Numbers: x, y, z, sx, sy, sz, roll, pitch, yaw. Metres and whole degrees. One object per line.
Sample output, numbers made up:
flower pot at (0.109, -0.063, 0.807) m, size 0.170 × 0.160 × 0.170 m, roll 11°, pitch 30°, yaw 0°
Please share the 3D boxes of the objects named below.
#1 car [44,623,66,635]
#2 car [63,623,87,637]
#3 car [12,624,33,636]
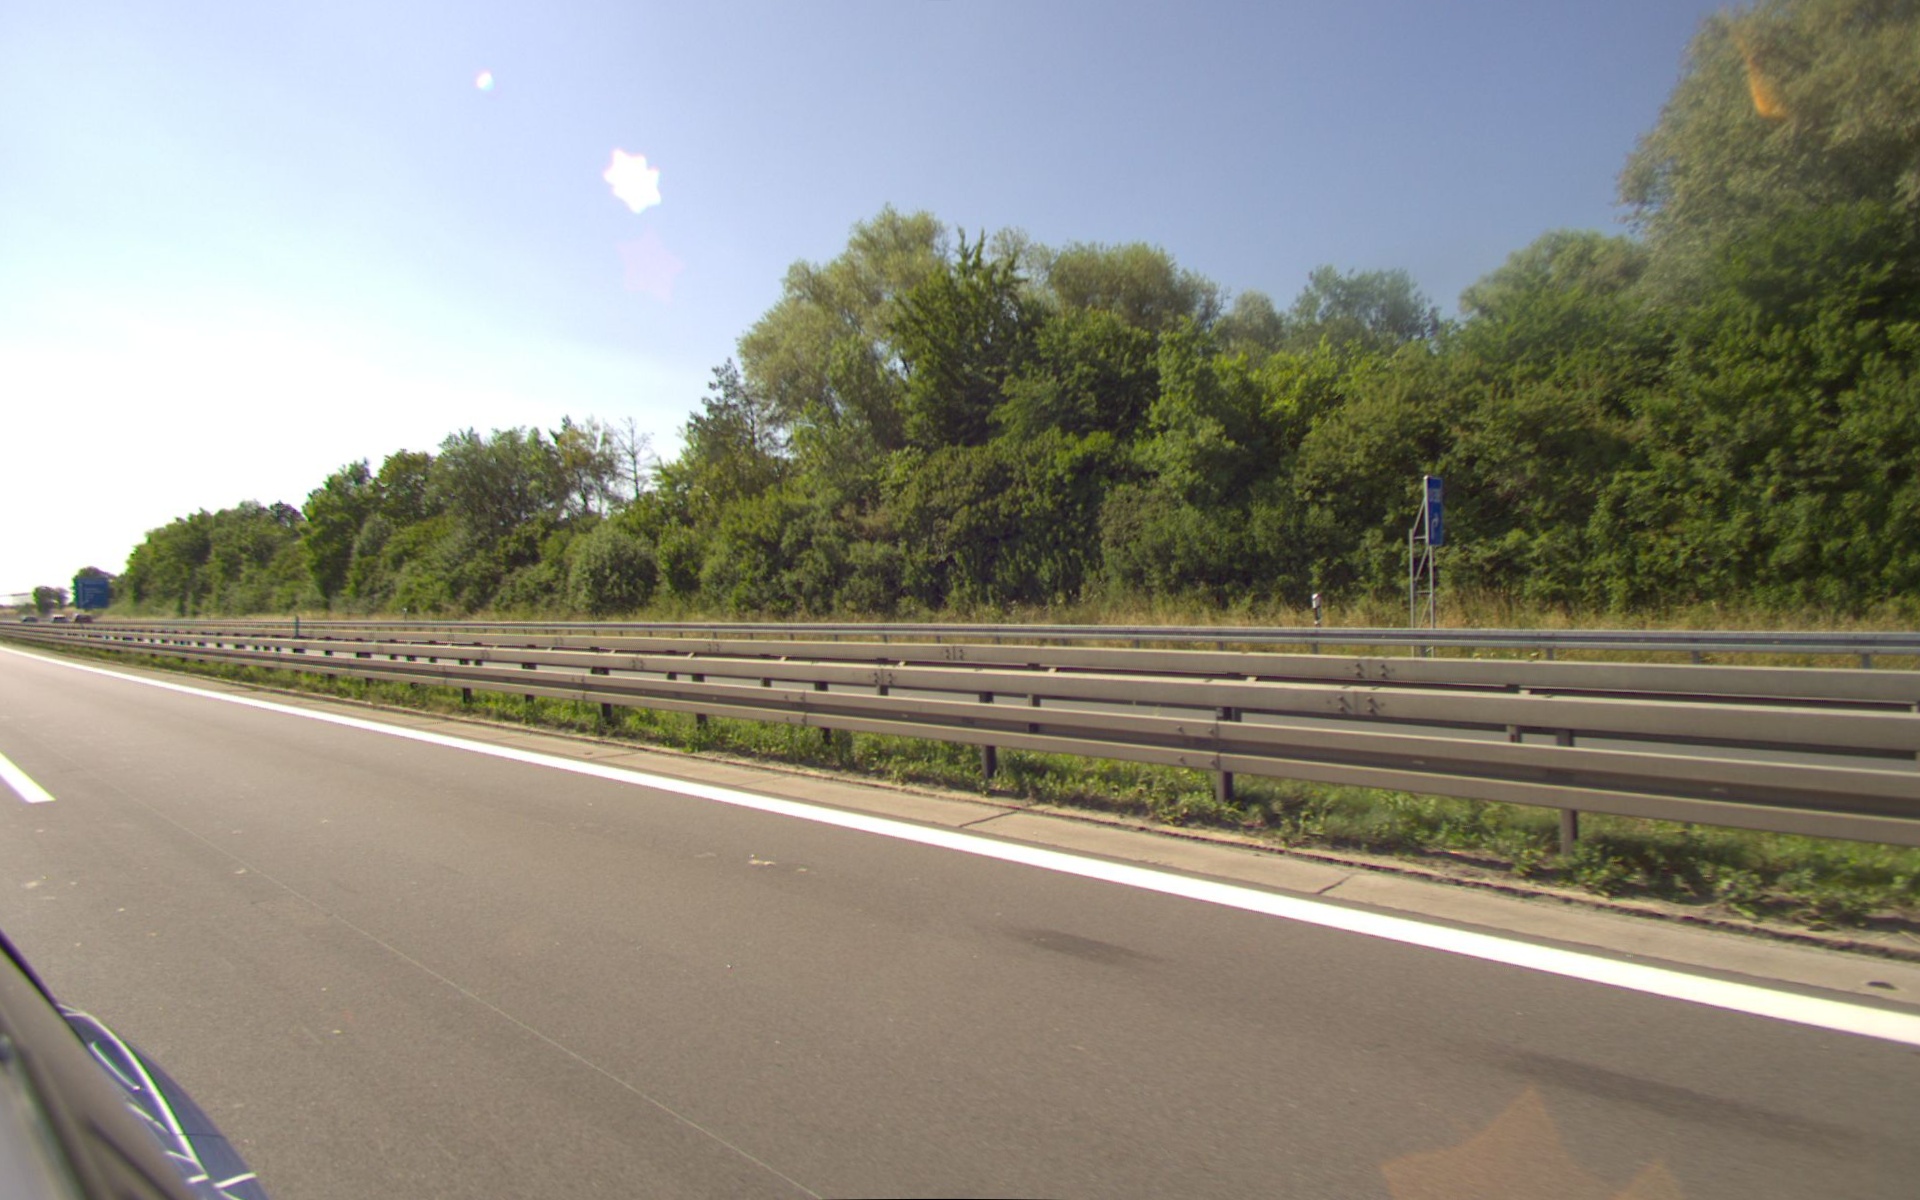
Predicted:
car at (-127.201, 4.067, 142.286) m, size 4.638 × 1.624 × 1.971 m, roll -2°, pitch 0°, yaw 44°
car at (-101.433, 3.461, 115.960) m, size 4.539 × 1.504 × 1.631 m, roll -2°, pitch 0°, yaw 43°
car at (-121.792, 3.911, 131.480) m, size 4.539 × 1.504 × 1.631 m, roll -2°, pitch 0°, yaw 43°
